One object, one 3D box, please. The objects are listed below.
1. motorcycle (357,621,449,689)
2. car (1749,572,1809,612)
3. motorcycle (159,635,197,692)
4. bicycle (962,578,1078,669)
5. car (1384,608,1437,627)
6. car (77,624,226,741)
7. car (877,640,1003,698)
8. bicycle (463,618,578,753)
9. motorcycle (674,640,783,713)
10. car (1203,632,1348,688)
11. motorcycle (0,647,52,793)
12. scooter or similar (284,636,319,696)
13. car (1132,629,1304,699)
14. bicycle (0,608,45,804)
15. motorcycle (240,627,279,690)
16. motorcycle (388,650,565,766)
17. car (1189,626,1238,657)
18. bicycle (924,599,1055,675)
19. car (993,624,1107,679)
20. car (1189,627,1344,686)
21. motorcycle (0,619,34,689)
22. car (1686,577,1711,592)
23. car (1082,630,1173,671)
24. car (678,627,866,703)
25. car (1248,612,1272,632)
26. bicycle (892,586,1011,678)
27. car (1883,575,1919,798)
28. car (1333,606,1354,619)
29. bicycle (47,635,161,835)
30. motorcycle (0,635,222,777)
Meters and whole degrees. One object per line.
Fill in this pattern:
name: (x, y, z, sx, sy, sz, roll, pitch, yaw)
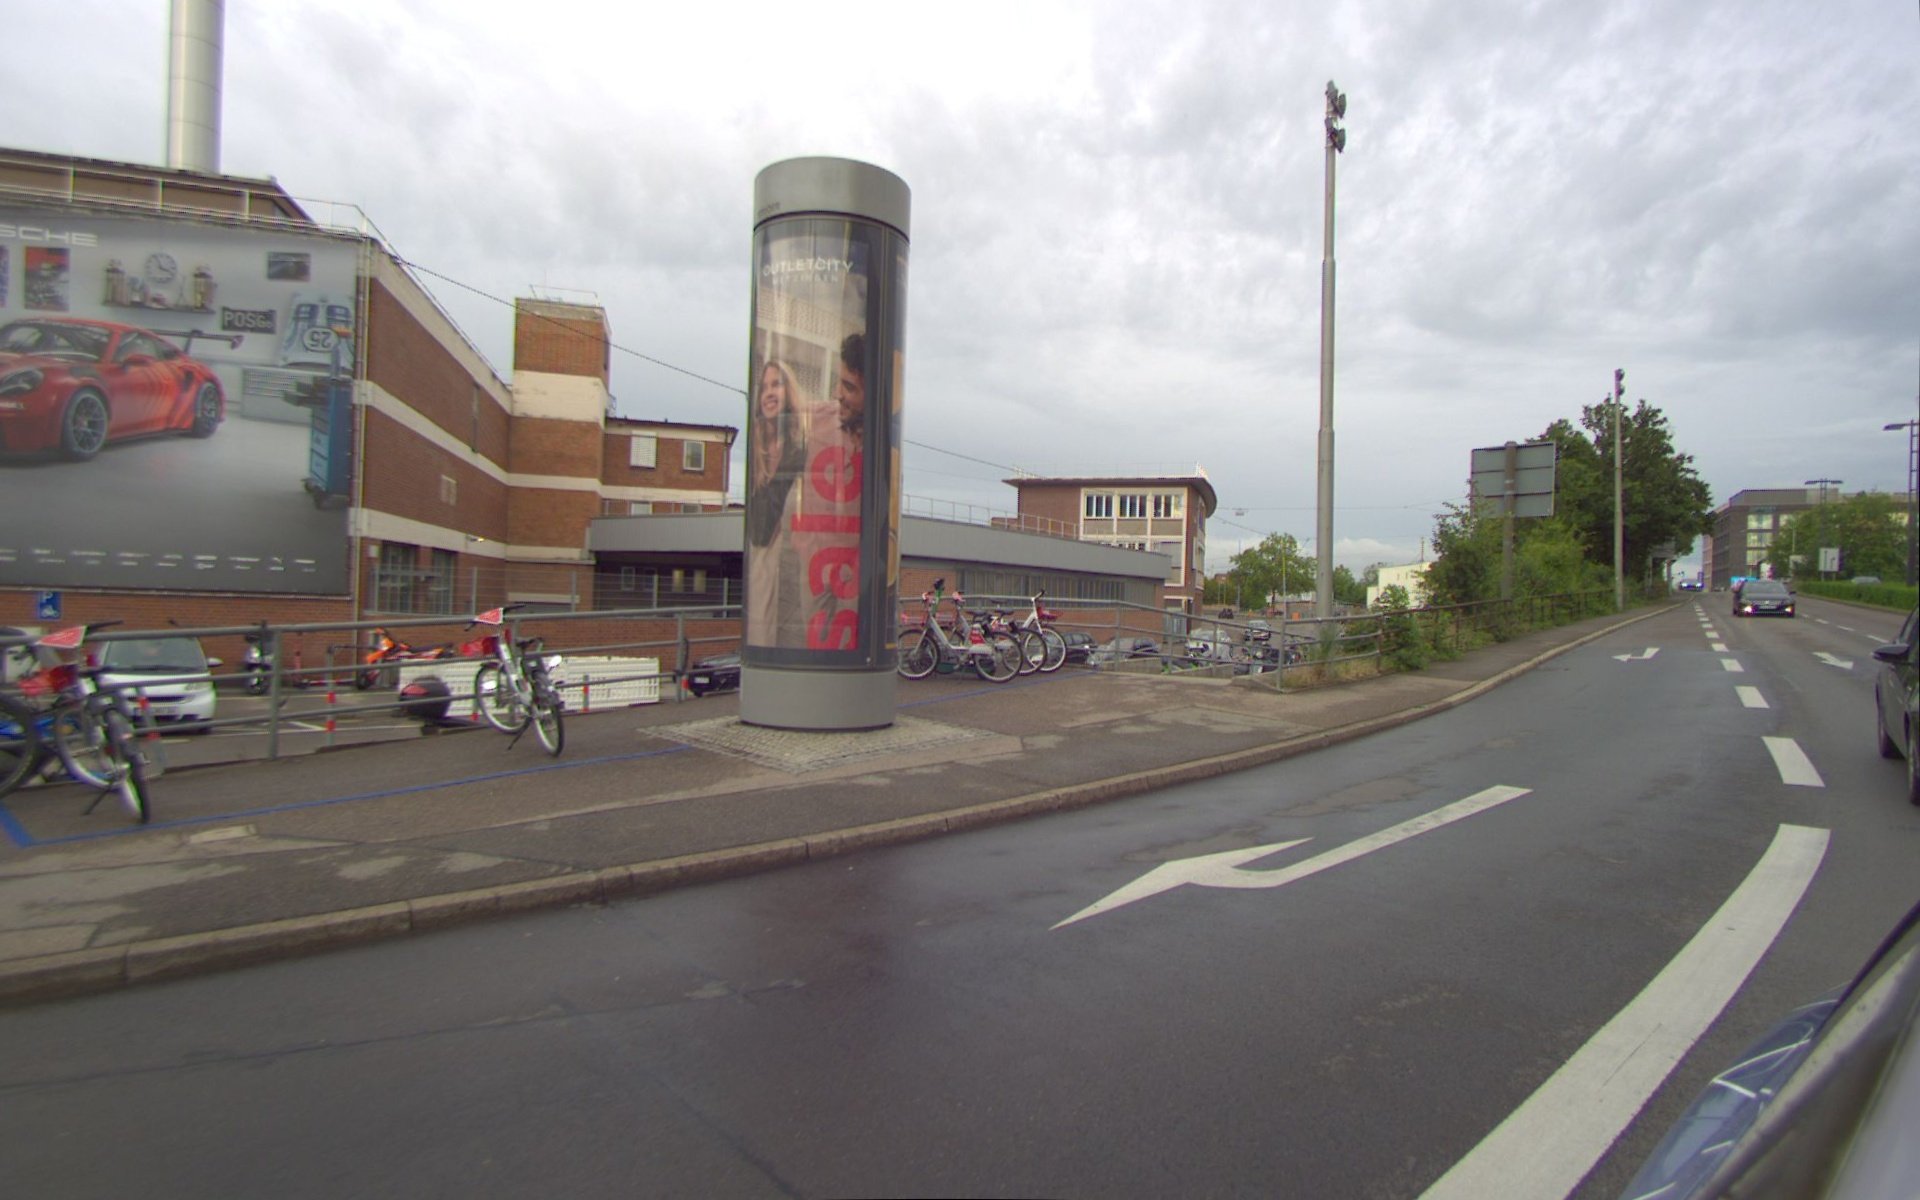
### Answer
motorcycle: (-11.949, 1.154, 21.764, 0.521, 1.350, 1.647, -1, 1, 37)
car: (32.244, -0.345, 39.900, 1.741, 1.493, 4.013, 0, 1, 38)
motorcycle: (-15.272, 1.219, 19.780, 0.531, 0.985, 1.616, -2, 1, -36)
bicycle: (0.818, 0.305, 13.981, 1.526, 1.169, 0.448, 2, 3, 21)
car: (37.035, 1.434, 83.305, 3.956, 1.444, 1.707, 1, 0, 24)
car: (-12.896, 1.190, 16.058, 1.541, 1.508, 3.991, 1, 0, -43)
car: (-0.548, 2.016, 30.418, 1.711, 1.444, 3.945, 0, 0, 38)
bicycle: (-3.603, 0.646, 8.237, 0.414, 0.933, 1.614, 0, 1, -40)
motorcycle: (-3.289, 1.064, 14.329, 1.603, 0.933, 0.477, -1, 1, 31)
car: (9.521, 1.761, 30.801, 1.689, 1.444, 3.998, 1, 0, -37)
motorcycle: (-7.008, 0.810, 6.458, 1.709, 0.906, 0.548, -1, 2, -29)
scooter or similar: (-13.649, 1.343, 20.966, 0.495, 1.110, 1.638, -1, 1, -36)
car: (6.338, 1.525, 25.236, 1.689, 1.444, 3.998, 1, 0, -37)
bicycle: (-6.628, 0.681, 5.834, 1.982, 1.189, 0.399, -2, 2, -43)
motorcycle: (-14.234, 1.156, 20.548, 0.574, 1.166, 1.720, -2, 1, -36)
motorcycle: (-4.562, 0.987, 9.648, 0.400, 0.901, 1.521, 0, 2, 35)
car: (13.126, 2.100, 52.292, 1.716, 1.406, 3.964, 0, 0, 26)
bicycle: (0.378, 0.476, 13.254, 1.673, 0.933, 0.486, 1, 2, 2)
car: (3.217, 1.740, 35.410, 1.776, 1.688, 4.440, 0, 0, 40)
car: (8.593, 1.539, 28.665, 1.689, 1.444, 3.998, 1, 0, -37)
motorcycle: (-17.959, 1.009, 18.601, 0.533, 1.254, 1.811, 1, 0, -12)
car: (80.029, -1.622, 109.742, 1.804, 1.457, 4.252, 2, 0, 32)
car: (6.728, 1.965, 40.446, 1.713, 1.422, 4.213, 0, 0, 40)
car: (-4.495, 1.499, 24.779, 1.879, 1.570, 4.447, 0, 0, 37)
car: (23.132, 1.681, 77.967, 1.697, 1.444, 3.978, 0, 0, 17)
bicycle: (-0.100, 0.391, 12.774, 1.437, 1.086, 0.443, 1, 3, 8)
car: (7.977, 0.582, 7.319, 1.686, 1.526, 3.955, 0, 1, 39)
car: (43.642, 1.412, 115.215, 1.695, 1.444, 3.984, 0, 0, 13)
bicycle: (-5.258, 0.752, 6.185, 0.414, 0.973, 1.742, -2, 2, -44)
motorcycle: (-6.389, 0.755, 7.636, 0.432, 0.901, 1.247, 1, 2, 39)
